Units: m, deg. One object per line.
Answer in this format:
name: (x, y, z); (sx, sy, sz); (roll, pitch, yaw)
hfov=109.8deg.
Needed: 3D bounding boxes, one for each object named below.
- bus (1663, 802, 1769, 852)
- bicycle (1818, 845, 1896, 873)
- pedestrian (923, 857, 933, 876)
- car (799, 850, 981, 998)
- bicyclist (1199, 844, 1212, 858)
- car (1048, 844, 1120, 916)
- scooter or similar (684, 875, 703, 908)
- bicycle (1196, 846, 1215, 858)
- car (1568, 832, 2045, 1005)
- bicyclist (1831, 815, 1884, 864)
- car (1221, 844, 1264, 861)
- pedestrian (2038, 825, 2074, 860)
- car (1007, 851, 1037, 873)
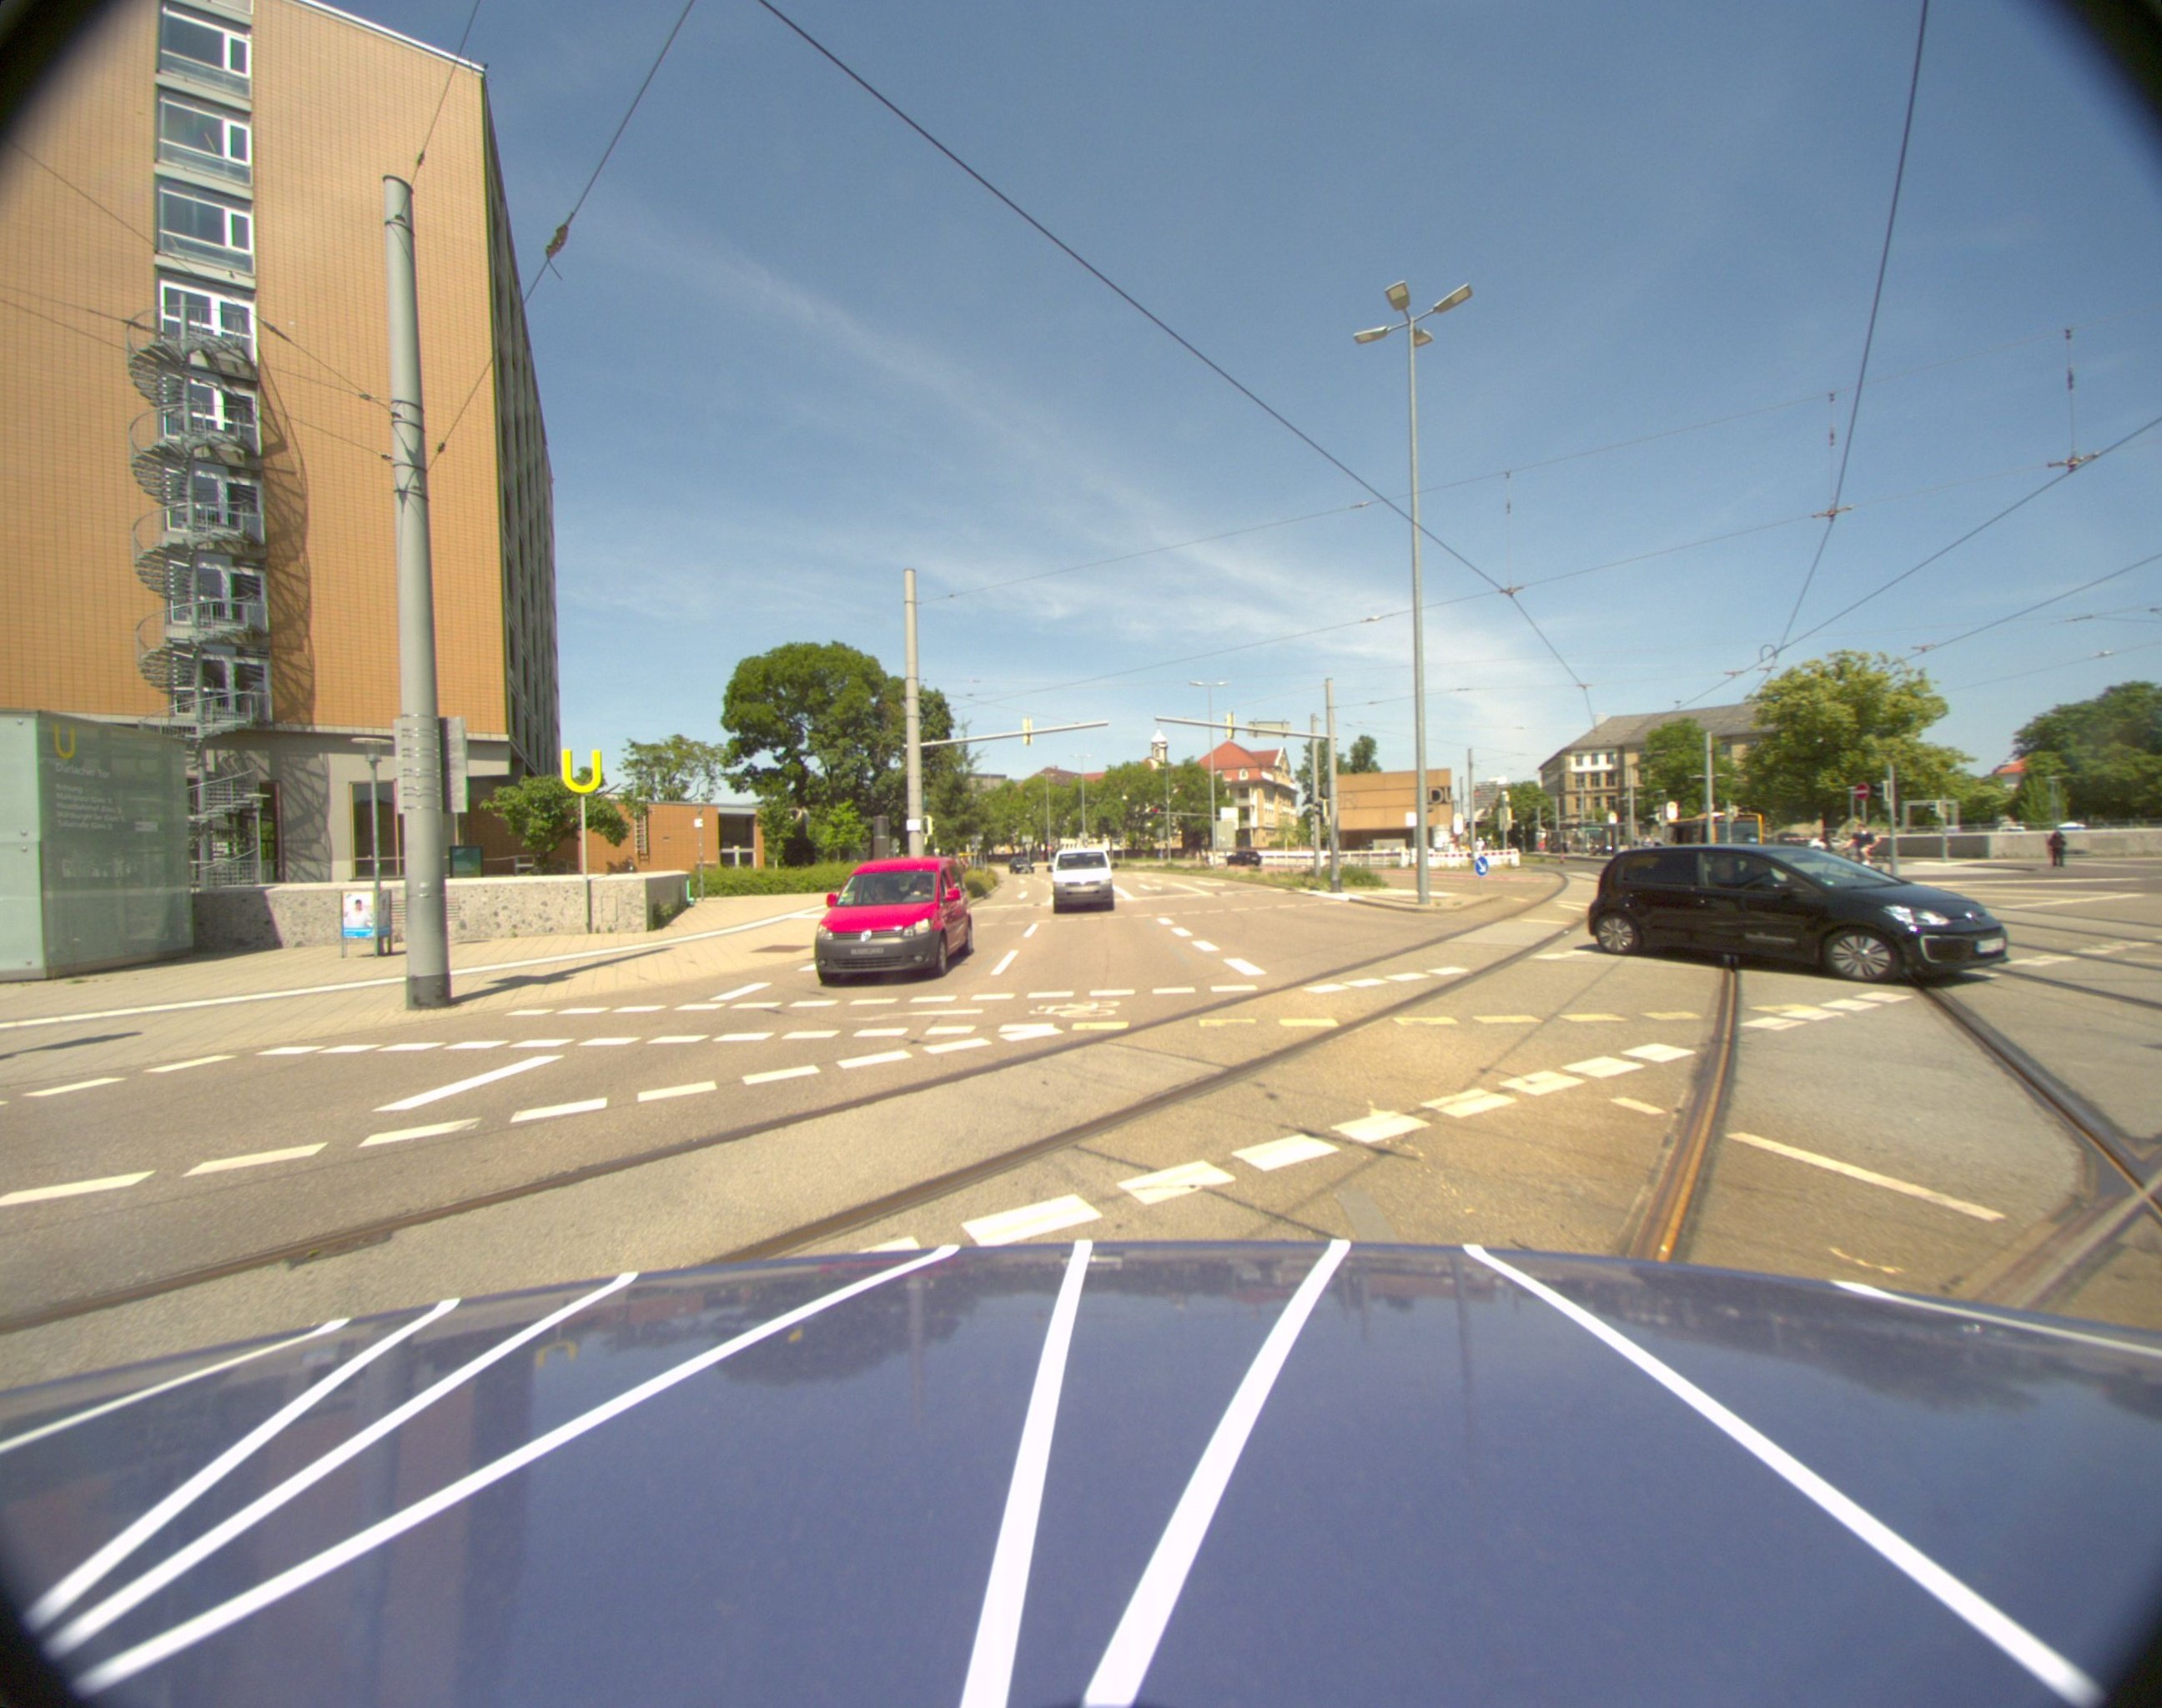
bus: (43.757, -1.766, 52.864); (2.850, 2.998, 12.240); (-2, 0, 26)
bicycle: (25.769, 0.173, 25.254); (1.898, 0.850, 0.628); (-2, 1, 2)
pedestrian: (-14.851, 1.230, 73.794); (0.728, 1.787, 0.613); (-2, 1, -1)
car: (-2.787, 0.909, 12.187); (1.655, 1.848, 4.545); (-3, 0, 0)
bicyclist: (12.406, -0.343, 75.881); (0.587, 1.348, 1.437); (-4, 2, -17)
car: (0.043, 0.733, 24.611); (1.971, 1.958, 4.847); (-4, 1, -1)
scooter or similar: (-14.225, 1.365, 27.914); (0.459, 1.164, 1.248); (-2, 1, -21)
bicycle: (12.399, -0.211, 75.790); (0.879, 1.066, 2.229); (-4, 1, -17)
car: (8.240, 0.603, 9.095); (1.751, 1.567, 3.731); (-2, 0, -21)
bicyclist: (25.772, -0.488, 25.226); (1.253, 1.521, 0.438); (-4, 2, 1)
car: (14.950, -0.131, 70.509); (2.001, 1.456, 4.840); (-2, 0, -14)
pedestrian: (37.998, -0.449, 29.626); (0.526, 1.326, 1.000); (-2, 1, 30)
car: (-5.899, 0.795, 75.953); (2.002, 2.002, 3.994); (-2, 0, -19)
